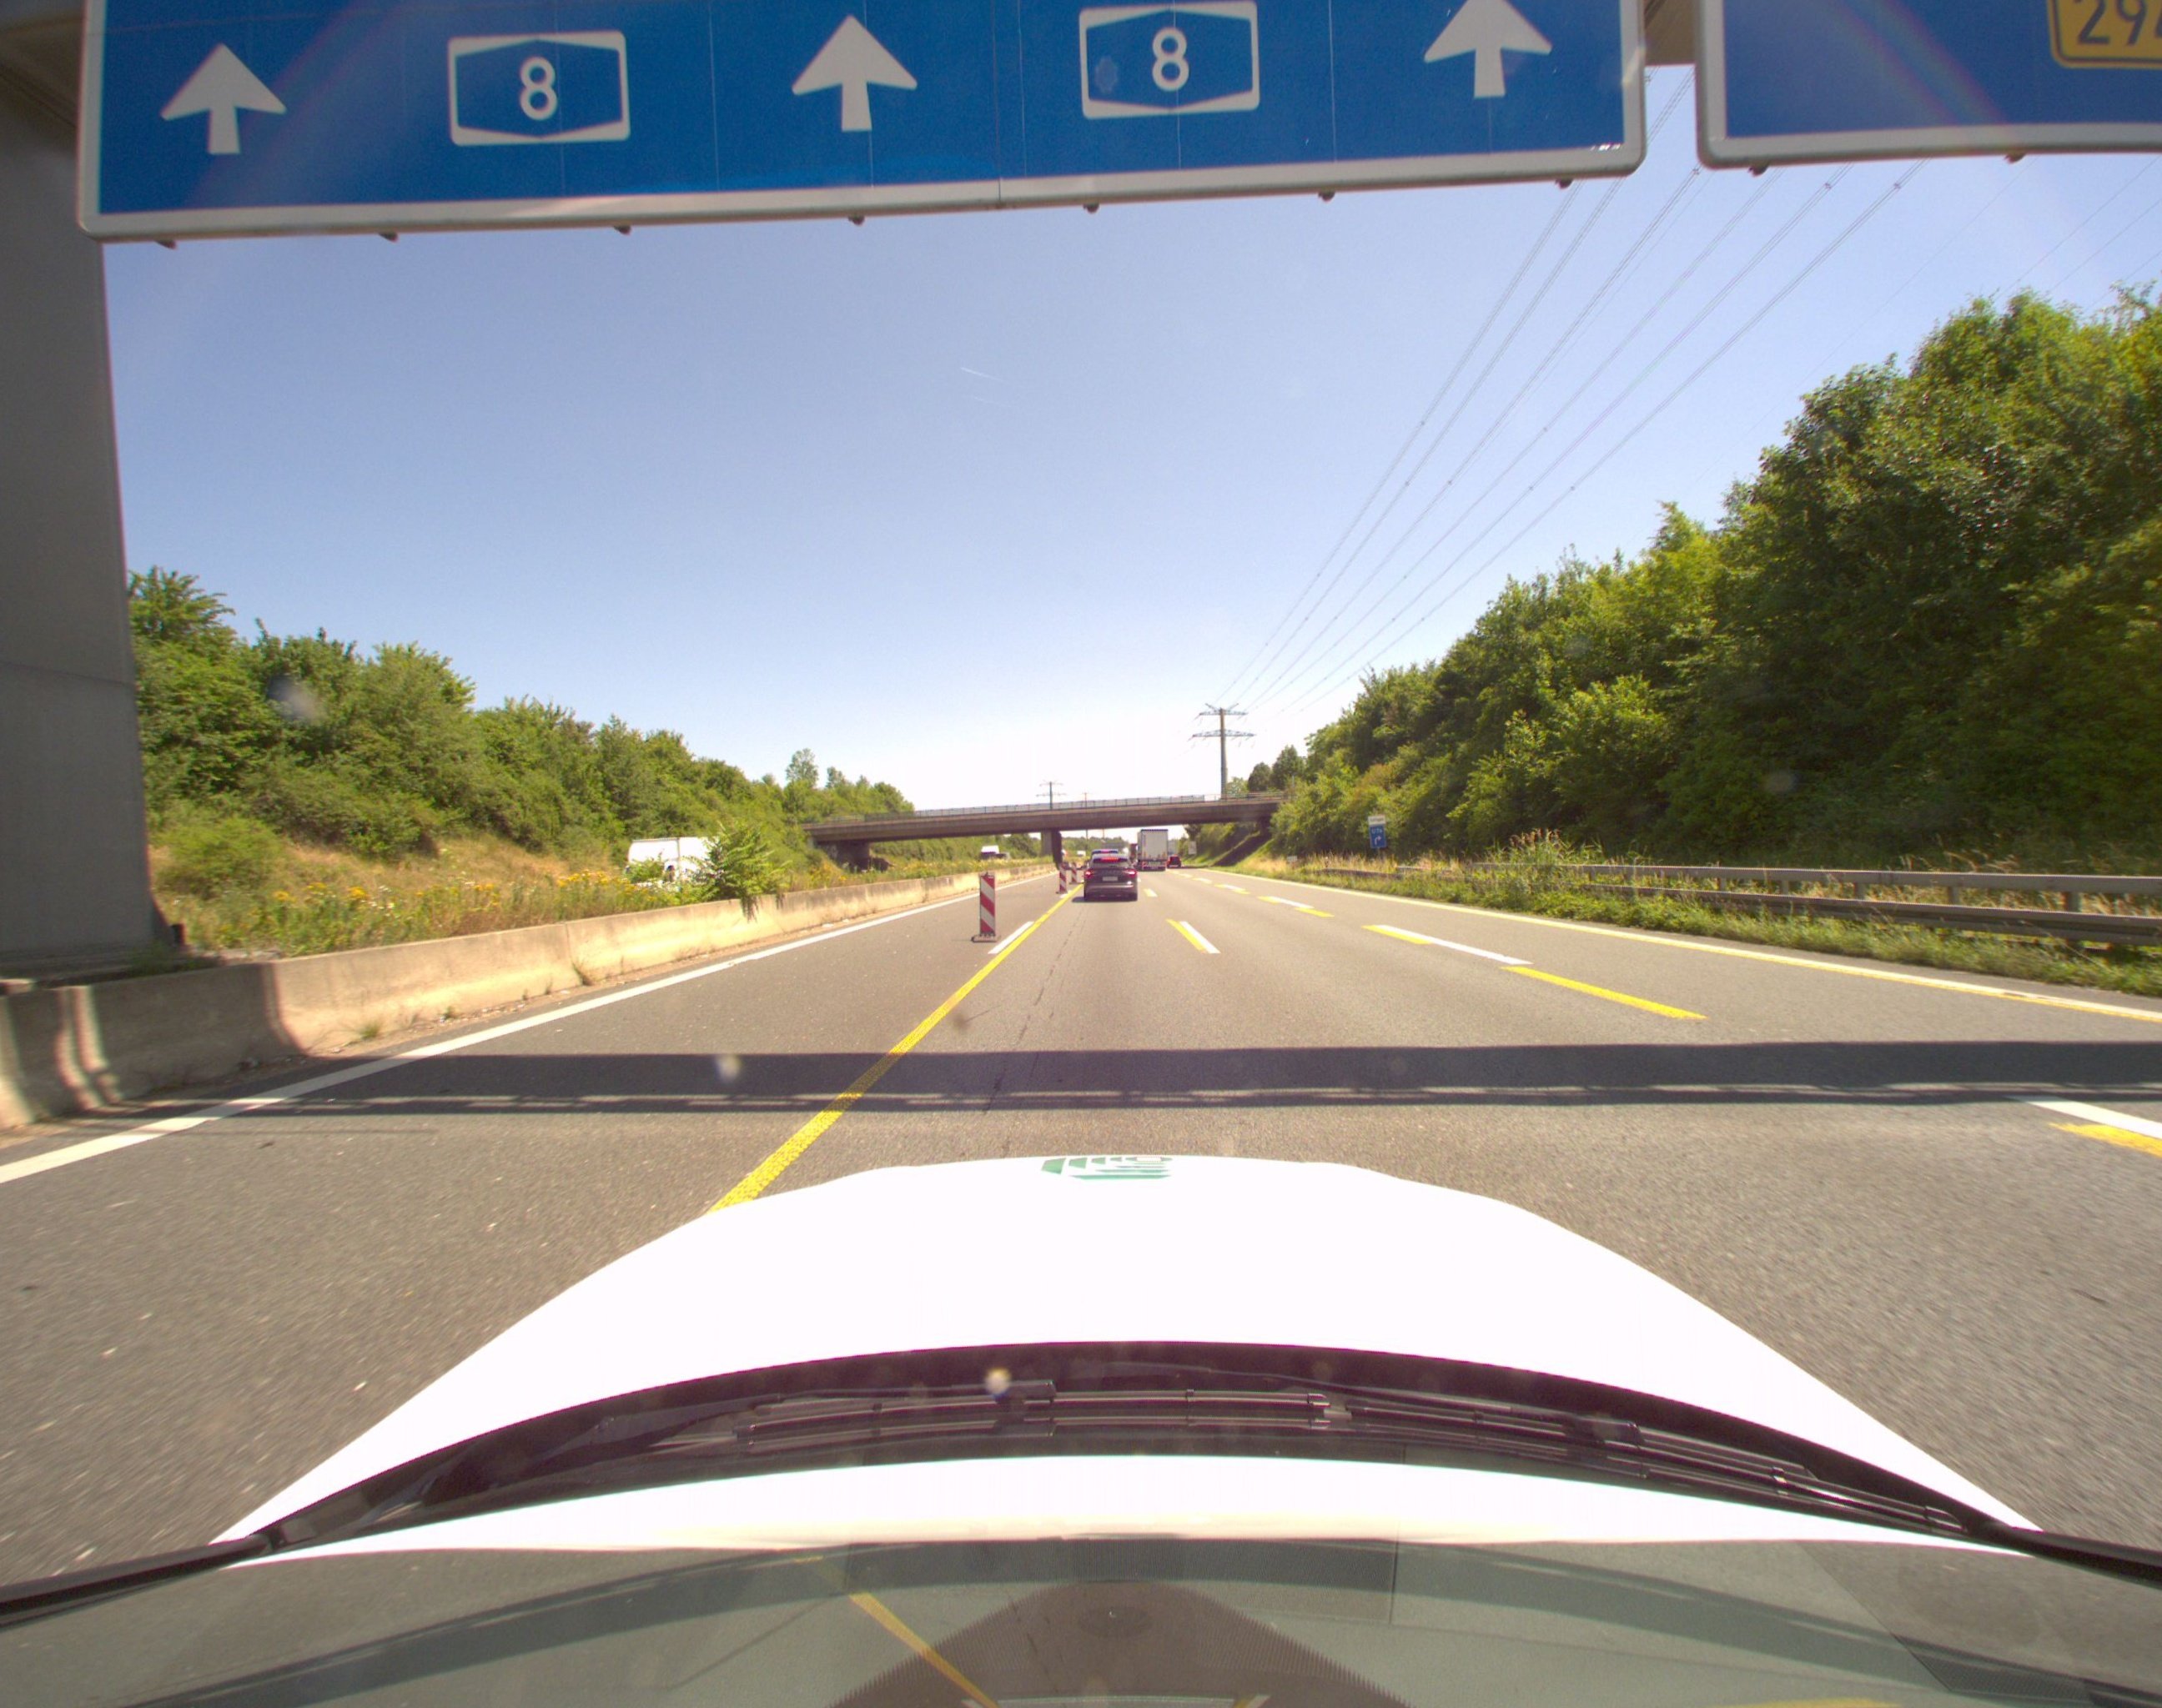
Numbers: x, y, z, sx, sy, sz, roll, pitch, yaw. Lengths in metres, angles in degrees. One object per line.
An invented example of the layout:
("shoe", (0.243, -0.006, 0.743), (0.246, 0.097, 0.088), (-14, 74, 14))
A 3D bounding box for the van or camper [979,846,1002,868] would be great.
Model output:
("van or camper", (-13.699, 0.459, 124.224), (2.560, 3.187, 6.235), (-1, 0, 2))

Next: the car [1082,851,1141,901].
("car", (1.042, 0.717, 28.785), (1.889, 1.592, 4.443), (-2, 0, 1))

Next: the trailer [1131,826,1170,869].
("trailer", (6.925, -0.606, 82.597), (3.055, 4.042, 11.487), (-1, 0, 0))

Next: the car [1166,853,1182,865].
("car", (12.173, 0.648, 106.972), (1.772, 1.489, 4.465), (0, 0, 2))

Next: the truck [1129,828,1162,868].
("truck", (6.999, -0.612, 89.380), (3.014, 4.087, 7.795), (-1, 0, 1))

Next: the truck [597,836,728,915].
("truck", (-19.059, 0.918, 37.573), (2.486, 3.259, 6.367), (-2, 0, 2))

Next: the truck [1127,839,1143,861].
("truck", (10.563, -0.732, 160.871), (3.065, 4.146, 13.064), (0, 0, 3))

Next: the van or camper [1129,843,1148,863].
("van or camper", (8.830, -0.119, 125.610), (2.576, 2.968, 6.089), (1, 0, 3))

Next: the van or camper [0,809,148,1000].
("van or camper", (-19.125, 0.871, 11.694), (2.426, 3.147, 7.629), (-2, 0, 2))

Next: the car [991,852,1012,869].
("car", (-10.657, 0.875, 109.499), (2.105, 2.197, 5.313), (0, 0, 1))

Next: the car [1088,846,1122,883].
("car", (1.350, 0.559, 46.563), (1.889, 1.841, 4.444), (0, 3, 1))
